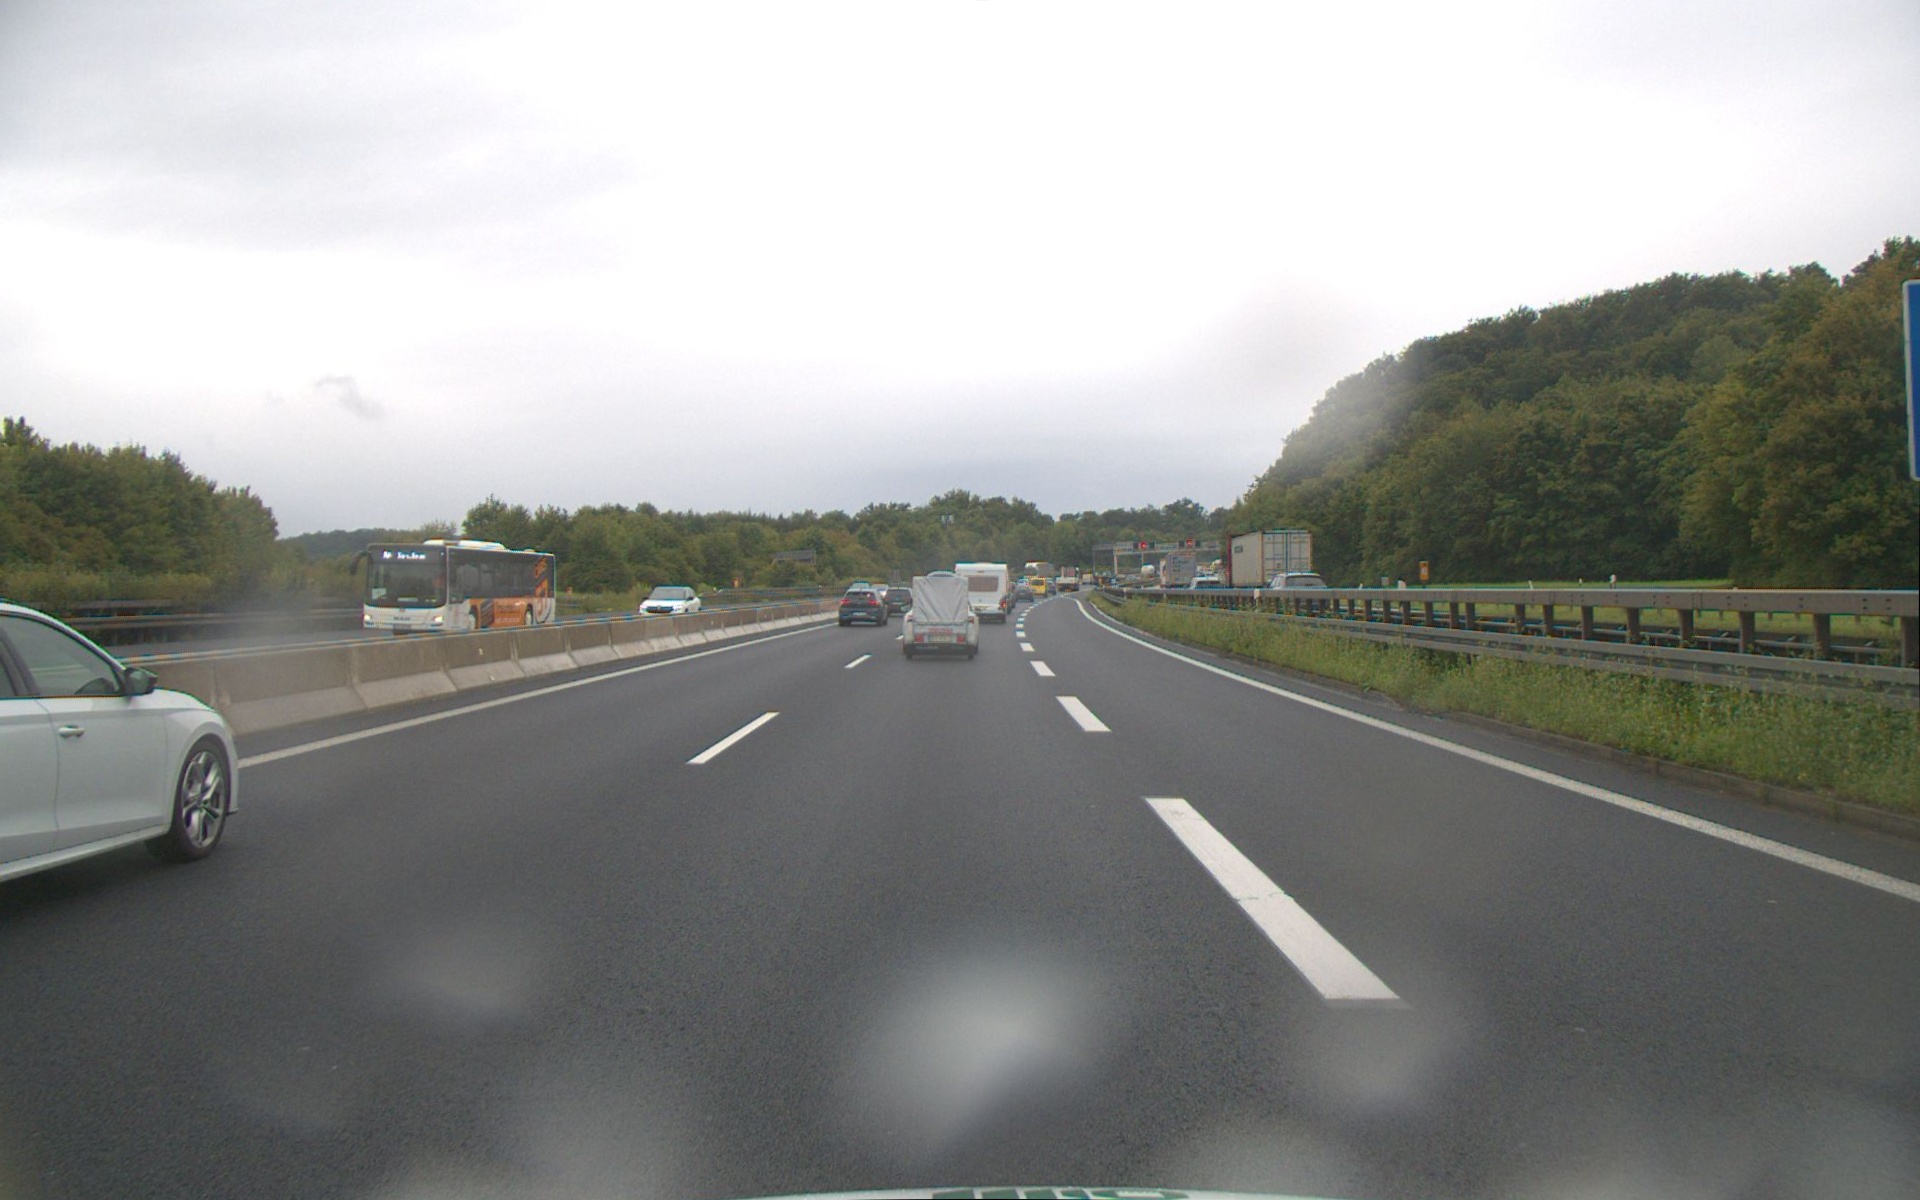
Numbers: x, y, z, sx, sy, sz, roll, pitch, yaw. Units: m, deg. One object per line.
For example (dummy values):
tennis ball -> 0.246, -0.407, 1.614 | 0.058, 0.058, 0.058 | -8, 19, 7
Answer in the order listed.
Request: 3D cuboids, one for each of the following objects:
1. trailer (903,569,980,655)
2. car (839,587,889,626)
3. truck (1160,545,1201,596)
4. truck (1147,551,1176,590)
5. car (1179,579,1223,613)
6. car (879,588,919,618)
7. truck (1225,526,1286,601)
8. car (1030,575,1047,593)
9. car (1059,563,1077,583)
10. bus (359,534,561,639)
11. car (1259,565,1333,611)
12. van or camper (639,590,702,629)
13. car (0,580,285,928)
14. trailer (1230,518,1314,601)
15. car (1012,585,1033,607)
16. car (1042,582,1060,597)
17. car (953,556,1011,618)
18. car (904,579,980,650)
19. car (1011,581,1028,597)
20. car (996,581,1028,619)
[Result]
trailer -> -0.398, 0.254, 37.695 | 1.641, 1.844, 4.000 | 0, 0, 0
car -> -3.799, 0.245, 66.273 | 1.641, 1.481, 4.001 | -1, 0, 2
truck -> 21.521, -2.744, 162.029 | 3.148, 4.748, 13.039 | -1, 0, 4
truck -> 25.413, -3.639, 208.184 | 3.147, 4.748, 13.043 | -1, 0, 9
car -> 12.244, -0.195, 84.155 | 1.733, 1.638, 4.645 | -1, 0, 3
car -> -3.100, 0.141, 84.758 | 1.728, 1.481, 4.001 | -1, 0, 2
truck -> 16.208, -1.927, 91.046 | 2.561, 3.952, 6.394 | 0, 0, 3
car -> 8.204, -1.693, 173.376 | 1.640, 1.844, 4.002 | -1, 0, 5
car -> 14.859, -3.675, 227.157 | 2.462, 2.619, 5.315 | -1, 0, 5
bus -> -16.049, -0.382, 54.286 | 2.642, 3.010, 11.900 | -1, 0, 2
car -> 11.123, -0.381, 54.999 | 1.632, 1.407, 4.127 | -2, 0, 1
van or camper -> -11.428, 0.377, 65.550 | 1.712, 1.473, 4.585 | 0, 0, 0
car -> -4.983, 0.663, 7.662 | 1.781, 1.481, 4.777 | 0, 0, 0
trailer -> 15.843, -1.926, 84.857 | 2.549, 3.962, 12.495 | 0, 0, 3
car -> 5.466, -0.324, 144.386 | 1.641, 1.844, 4.000 | 0, 0, 0
car -> 10.650, -1.195, 193.424 | 1.994, 1.712, 4.002 | -1, 0, 5
car -> 0.999, -0.547, 73.909 | 2.456, 2.630, 5.700 | 0, 0, 1
car -> -0.416, 0.341, 41.382 | 1.781, 1.644, 4.778 | 0, 0, 0
car -> 7.753, -1.431, 215.466 | 1.951, 2.049, 4.002 | -1, 0, 5
car -> 2.952, 0.012, 94.632 | 1.641, 2.103, 3.999 | 0, 0, -1
